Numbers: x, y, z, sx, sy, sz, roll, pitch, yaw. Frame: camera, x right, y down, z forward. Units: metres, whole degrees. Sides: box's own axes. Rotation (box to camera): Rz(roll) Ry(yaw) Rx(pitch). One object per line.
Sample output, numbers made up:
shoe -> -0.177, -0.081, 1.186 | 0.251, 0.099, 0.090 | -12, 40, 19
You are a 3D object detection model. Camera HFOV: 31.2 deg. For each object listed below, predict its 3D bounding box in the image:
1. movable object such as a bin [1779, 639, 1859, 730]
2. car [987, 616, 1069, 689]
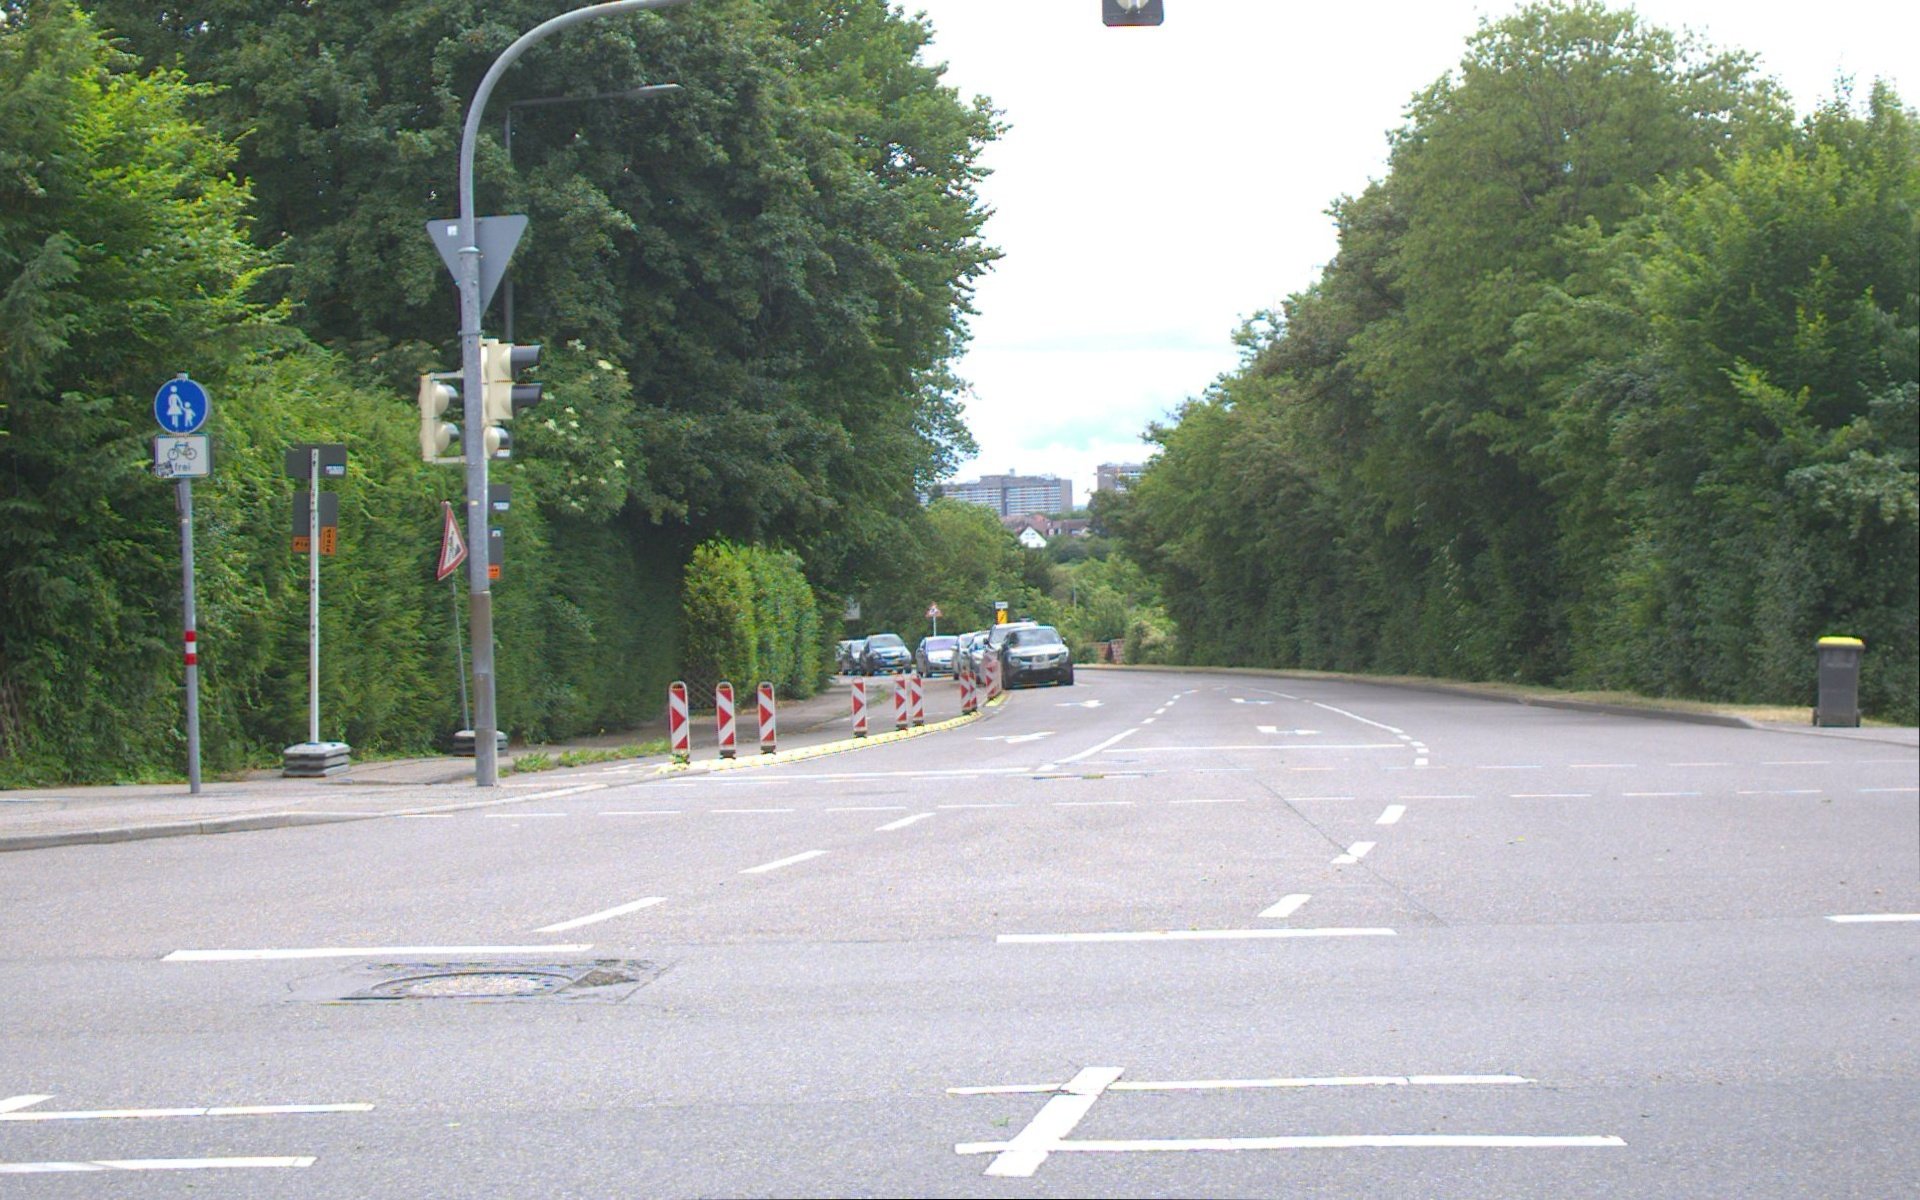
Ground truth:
movable object such as a bin -> 8.853, 0.869, 35.434 | 0.592, 0.903, 0.601 | -2, 0, 37
car -> 1.777, 1.332, 88.696 | 1.993, 1.744, 4.000 | -2, 1, 2
